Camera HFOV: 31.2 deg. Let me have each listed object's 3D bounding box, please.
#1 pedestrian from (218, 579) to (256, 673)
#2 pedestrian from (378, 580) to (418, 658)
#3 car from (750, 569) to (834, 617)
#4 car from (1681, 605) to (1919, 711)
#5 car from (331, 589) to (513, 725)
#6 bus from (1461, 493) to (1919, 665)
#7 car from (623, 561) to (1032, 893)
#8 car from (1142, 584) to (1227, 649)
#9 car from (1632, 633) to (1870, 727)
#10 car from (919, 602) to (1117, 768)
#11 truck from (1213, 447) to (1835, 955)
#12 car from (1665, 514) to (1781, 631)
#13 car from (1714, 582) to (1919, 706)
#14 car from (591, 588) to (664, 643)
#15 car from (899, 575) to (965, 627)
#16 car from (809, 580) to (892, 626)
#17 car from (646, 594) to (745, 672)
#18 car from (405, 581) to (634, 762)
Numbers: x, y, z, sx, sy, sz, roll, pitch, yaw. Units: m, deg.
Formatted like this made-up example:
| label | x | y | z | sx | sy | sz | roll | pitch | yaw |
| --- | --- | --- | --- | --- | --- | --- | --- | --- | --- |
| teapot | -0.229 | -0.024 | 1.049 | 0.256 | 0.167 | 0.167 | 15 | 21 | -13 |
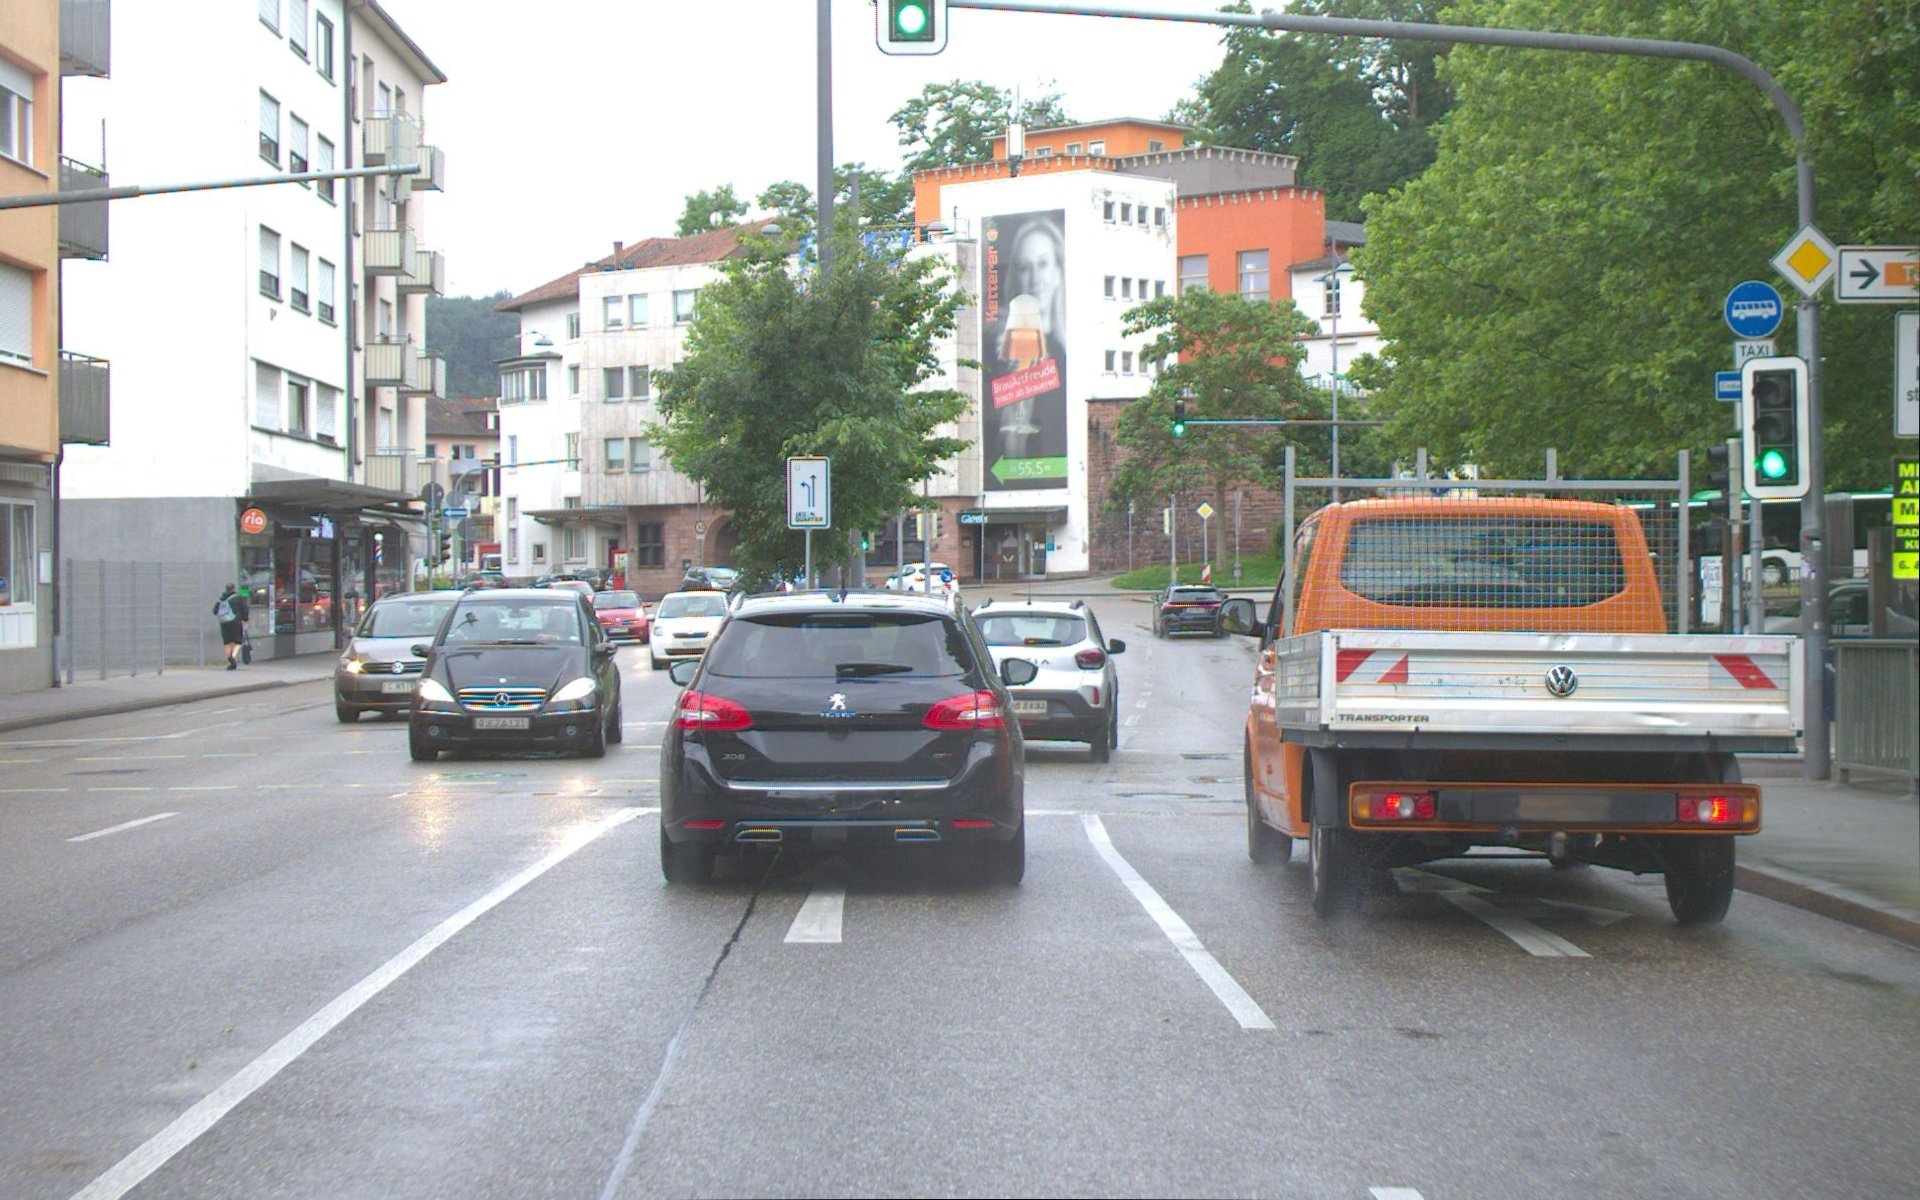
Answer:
| label | x | y | z | sx | sy | sz | roll | pitch | yaw |
| --- | --- | --- | --- | --- | --- | --- | --- | --- | --- |
| pedestrian | -14.504 | 0.521 | 68.989 | 0.639 | 1.854 | 0.524 | 1 | 0 | -2 |
| pedestrian | -14.812 | 0.493 | 90.600 | 0.726 | 2.007 | 0.657 | 4 | -2 | -34 |
| car | -5.972 | -0.223 | 121.641 | 1.644 | 1.559 | 3.600 | 4 | -2 | -25 |
| car | 14.927 | 1.013 | 60.676 | 3.987 | 1.644 | 1.917 | 3 | 0 | 3 |
| car | -6.682 | 0.673 | 43.027 | 1.736 | 1.596 | 3.919 | 0 | 1 | -1 |
| bus | 25.161 | -0.650 | 109.438 | 17.919 | 5.194 | 3.098 | 1 | 0 | 2 |
| car | -0.570 | 0.594 | 17.856 | 1.795 | 1.478 | 4.000 | 2 | 0 | 2 |
| car | 5.921 | 0.451 | 91.062 | 1.644 | 1.559 | 3.600 | 3 | -2 | -5 |
| car | 14.607 | 1.468 | 63.644 | 3.987 | 1.504 | 1.743 | 3 | 0 | 3 |
| car | 0.596 | 0.777 | 33.244 | 1.795 | 1.478 | 4.000 | 0 | 0 | 2 |
| truck | 2.476 | 0.386 | 16.387 | 2.122 | 2.018 | 4.716 | 1 | 1 | 0 |
| car | 19.966 | -0.706 | 90.170 | 2.072 | 2.960 | 4.227 | 1 | 0 | 0 |
| car | 14.560 | 0.715 | 56.283 | 3.987 | 1.918 | 1.970 | 2 | 0 | 3 |
| car | -8.892 | 0.391 | 92.144 | 1.664 | 1.395 | 3.877 | -1 | 0 | -1 |
| car | -1.041 | 0.022 | 124.065 | 1.993 | 1.815 | 4.001 | 1 | 1 | -6 |
| car | -4.002 | 0.113 | 125.187 | 1.644 | 1.559 | 3.600 | 4 | -2 | -25 |
| car | -5.191 | 0.627 | 67.860 | 1.654 | 1.445 | 3.543 | -2 | 0 | 0 |
| car | -4.210 | 0.640 | 33.396 | 1.736 | 1.596 | 3.919 | -2 | 1 | -1 |
